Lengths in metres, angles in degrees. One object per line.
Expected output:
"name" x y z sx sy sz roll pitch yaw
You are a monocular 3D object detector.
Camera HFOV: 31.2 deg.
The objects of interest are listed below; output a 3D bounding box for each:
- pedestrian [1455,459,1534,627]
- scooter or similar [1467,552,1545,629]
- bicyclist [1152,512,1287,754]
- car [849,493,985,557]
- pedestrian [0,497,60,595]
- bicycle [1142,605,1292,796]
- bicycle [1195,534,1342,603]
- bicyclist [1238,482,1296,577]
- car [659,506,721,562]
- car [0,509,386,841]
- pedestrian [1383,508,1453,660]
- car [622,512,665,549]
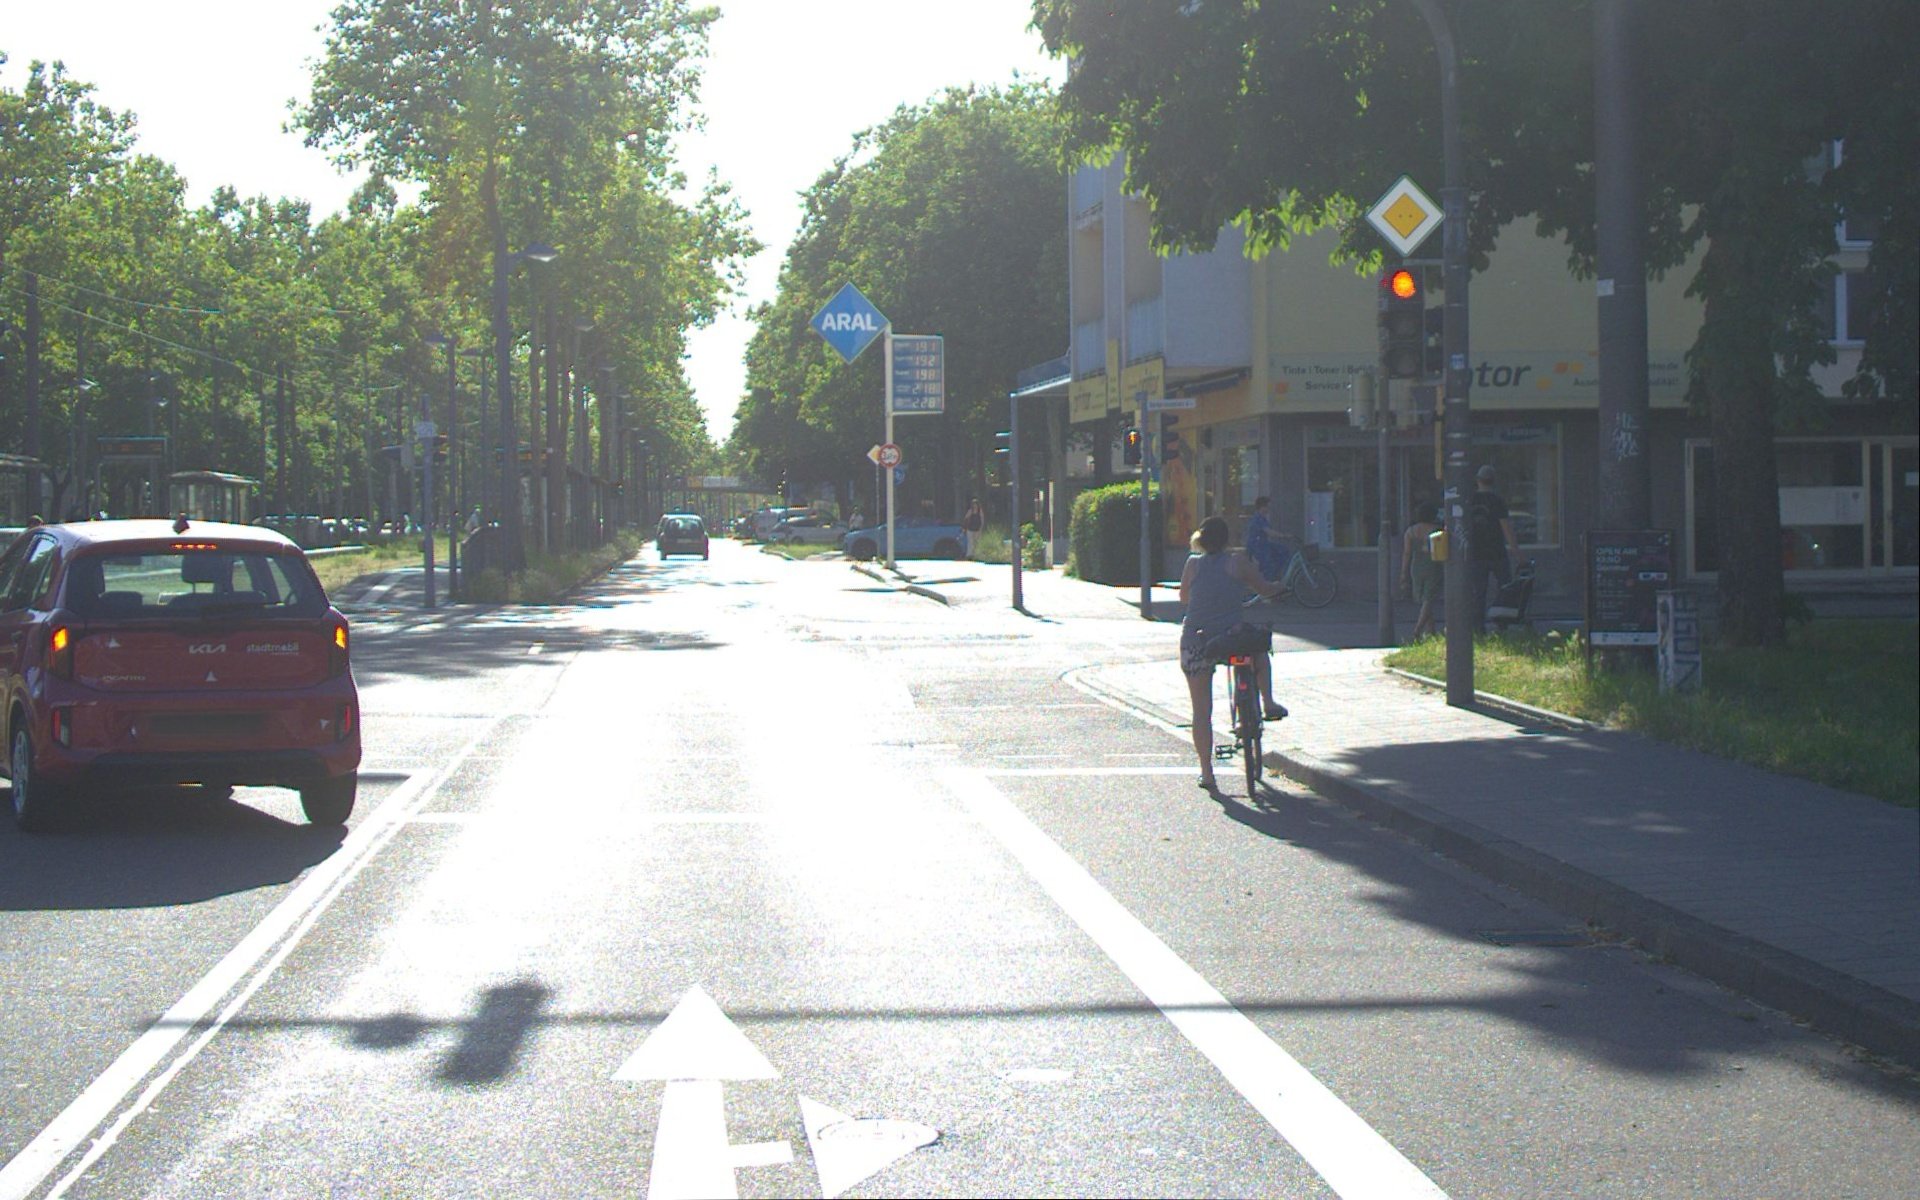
"pedestrian" 5.450 -0.585 35.045 0.730 1.676 0.532 2 1 8
"scooter or similar" 5.459 -0.100 34.409 0.597 0.735 0.681 2 1 -5
"bicyclist" 1.460 0.175 19.459 0.638 1.318 0.803 2 1 -2
"car" -1.338 -2.352 107.990 3.988 1.853 2.011 2 1 7
"pedestrian" -15.570 -0.902 57.444 0.890 1.601 0.613 2 1 -4
"bicycle" 1.441 0.546 19.539 0.648 0.969 1.804 2 1 -1
"bicycle" 4.890 -0.505 54.442 2.253 0.984 0.788 1 6 11
"bicyclist" 4.856 -1.125 54.390 0.769 1.466 0.897 -1 2 13
"car" -9.290 -2.283 118.050 1.968 1.853 4.001 2 1 -6
"car" -4.287 0.304 17.792 1.694 1.503 3.700 1 2 -24
"pedestrian" 4.682 -0.164 35.100 0.647 1.517 0.496 2 1 8
"car" -14.400 -3.161 156.381 1.893 1.605 4.501 2 1 -5
